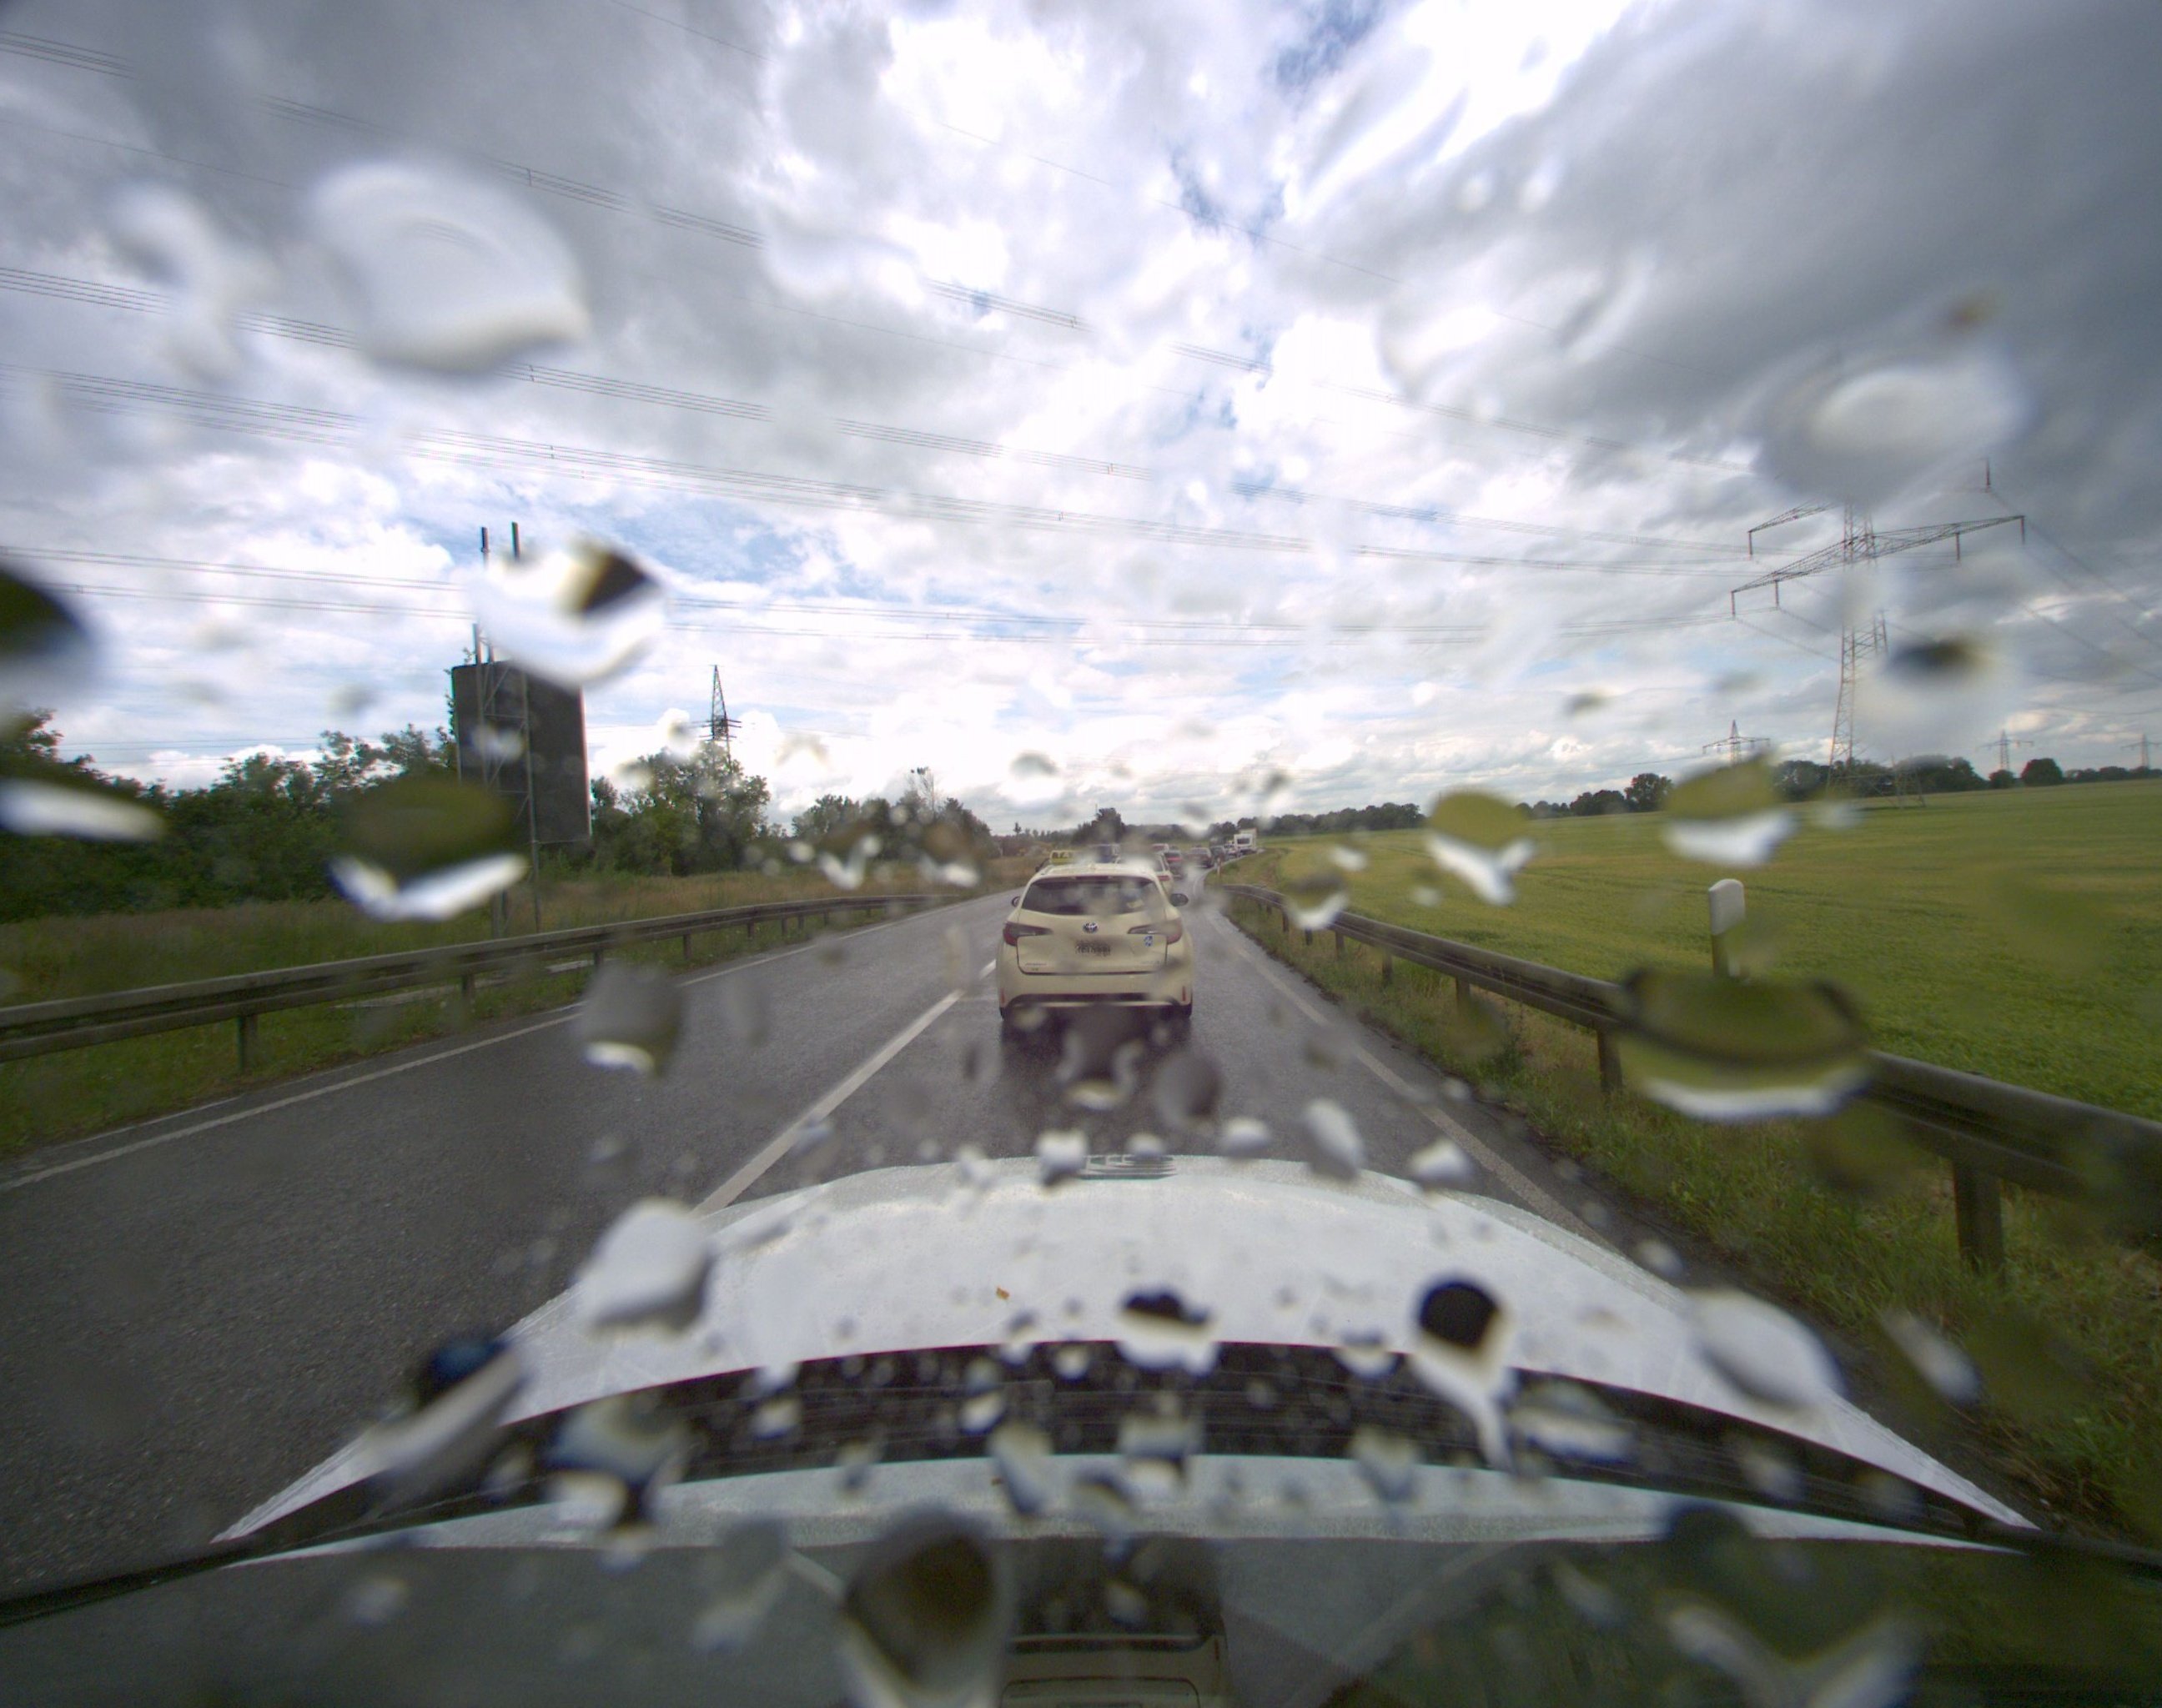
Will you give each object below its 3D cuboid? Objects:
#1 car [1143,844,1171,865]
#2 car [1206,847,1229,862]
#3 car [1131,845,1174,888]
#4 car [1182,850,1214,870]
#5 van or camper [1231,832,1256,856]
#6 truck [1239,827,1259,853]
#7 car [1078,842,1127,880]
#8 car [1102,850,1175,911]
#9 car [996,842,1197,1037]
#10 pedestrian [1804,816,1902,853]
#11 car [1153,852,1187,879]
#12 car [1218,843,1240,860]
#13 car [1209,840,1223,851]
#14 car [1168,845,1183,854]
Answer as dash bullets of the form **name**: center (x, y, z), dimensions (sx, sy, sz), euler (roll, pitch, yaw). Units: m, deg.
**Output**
- **car**: center (6.805, 0.050, 72.770), dimensions (1.788, 1.850, 4.537), euler (-2, -1, 14)
- **car**: center (13.080, 0.058, 77.934), dimensions (1.812, 1.413, 3.752), euler (-1, -1, 14)
- **car**: center (3.019, 0.511, 33.867), dimensions (1.604, 1.659, 3.747), euler (0, -1, 8)
- **car**: center (8.915, 0.468, 61.710), dimensions (1.946, 1.413, 4.408), euler (-1, -1, 14)
- **van or camper**: center (20.585, -1.233, 102.975), dimensions (2.517, 2.896, 6.772), euler (-1, 1, 16)
- **truck**: center (27.168, -2.192, 131.462), dimensions (3.105, 3.852, 7.411), euler (-1, -1, 12)
- **car**: center (1.275, 0.371, 45.763), dimensions (1.949, 2.014, 4.875), euler (-1, -1, 11)
- **car**: center (1.725, 0.671, 23.037), dimensions (1.831, 1.492, 4.617), euler (-1, 1, 7)
- **car**: center (0.218, 0.702, 8.431), dimensions (1.606, 1.562, 3.741), euler (0, -1, 3)
- **pedestrian**: center (44.637, -1.087, 47.203), dimensions (1.986, 2.014, 4.001), euler (0, -1, 2)
- **car**: center (4.870, 0.625, 44.228), dimensions (1.603, 1.413, 3.749), euler (-1, -1, 10)
- **car**: center (16.132, -0.252, 88.617), dimensions (1.945, 1.729, 3.753), euler (-1, -1, 15)
- **car**: center (27.199, -1.685, 164.183), dimensions (1.737, 2.014, 4.139), euler (0, -1, -6)
- **car**: center (22.475, -1.120, 193.529), dimensions (1.919, 2.014, 4.101), euler (0, -1, -22)
